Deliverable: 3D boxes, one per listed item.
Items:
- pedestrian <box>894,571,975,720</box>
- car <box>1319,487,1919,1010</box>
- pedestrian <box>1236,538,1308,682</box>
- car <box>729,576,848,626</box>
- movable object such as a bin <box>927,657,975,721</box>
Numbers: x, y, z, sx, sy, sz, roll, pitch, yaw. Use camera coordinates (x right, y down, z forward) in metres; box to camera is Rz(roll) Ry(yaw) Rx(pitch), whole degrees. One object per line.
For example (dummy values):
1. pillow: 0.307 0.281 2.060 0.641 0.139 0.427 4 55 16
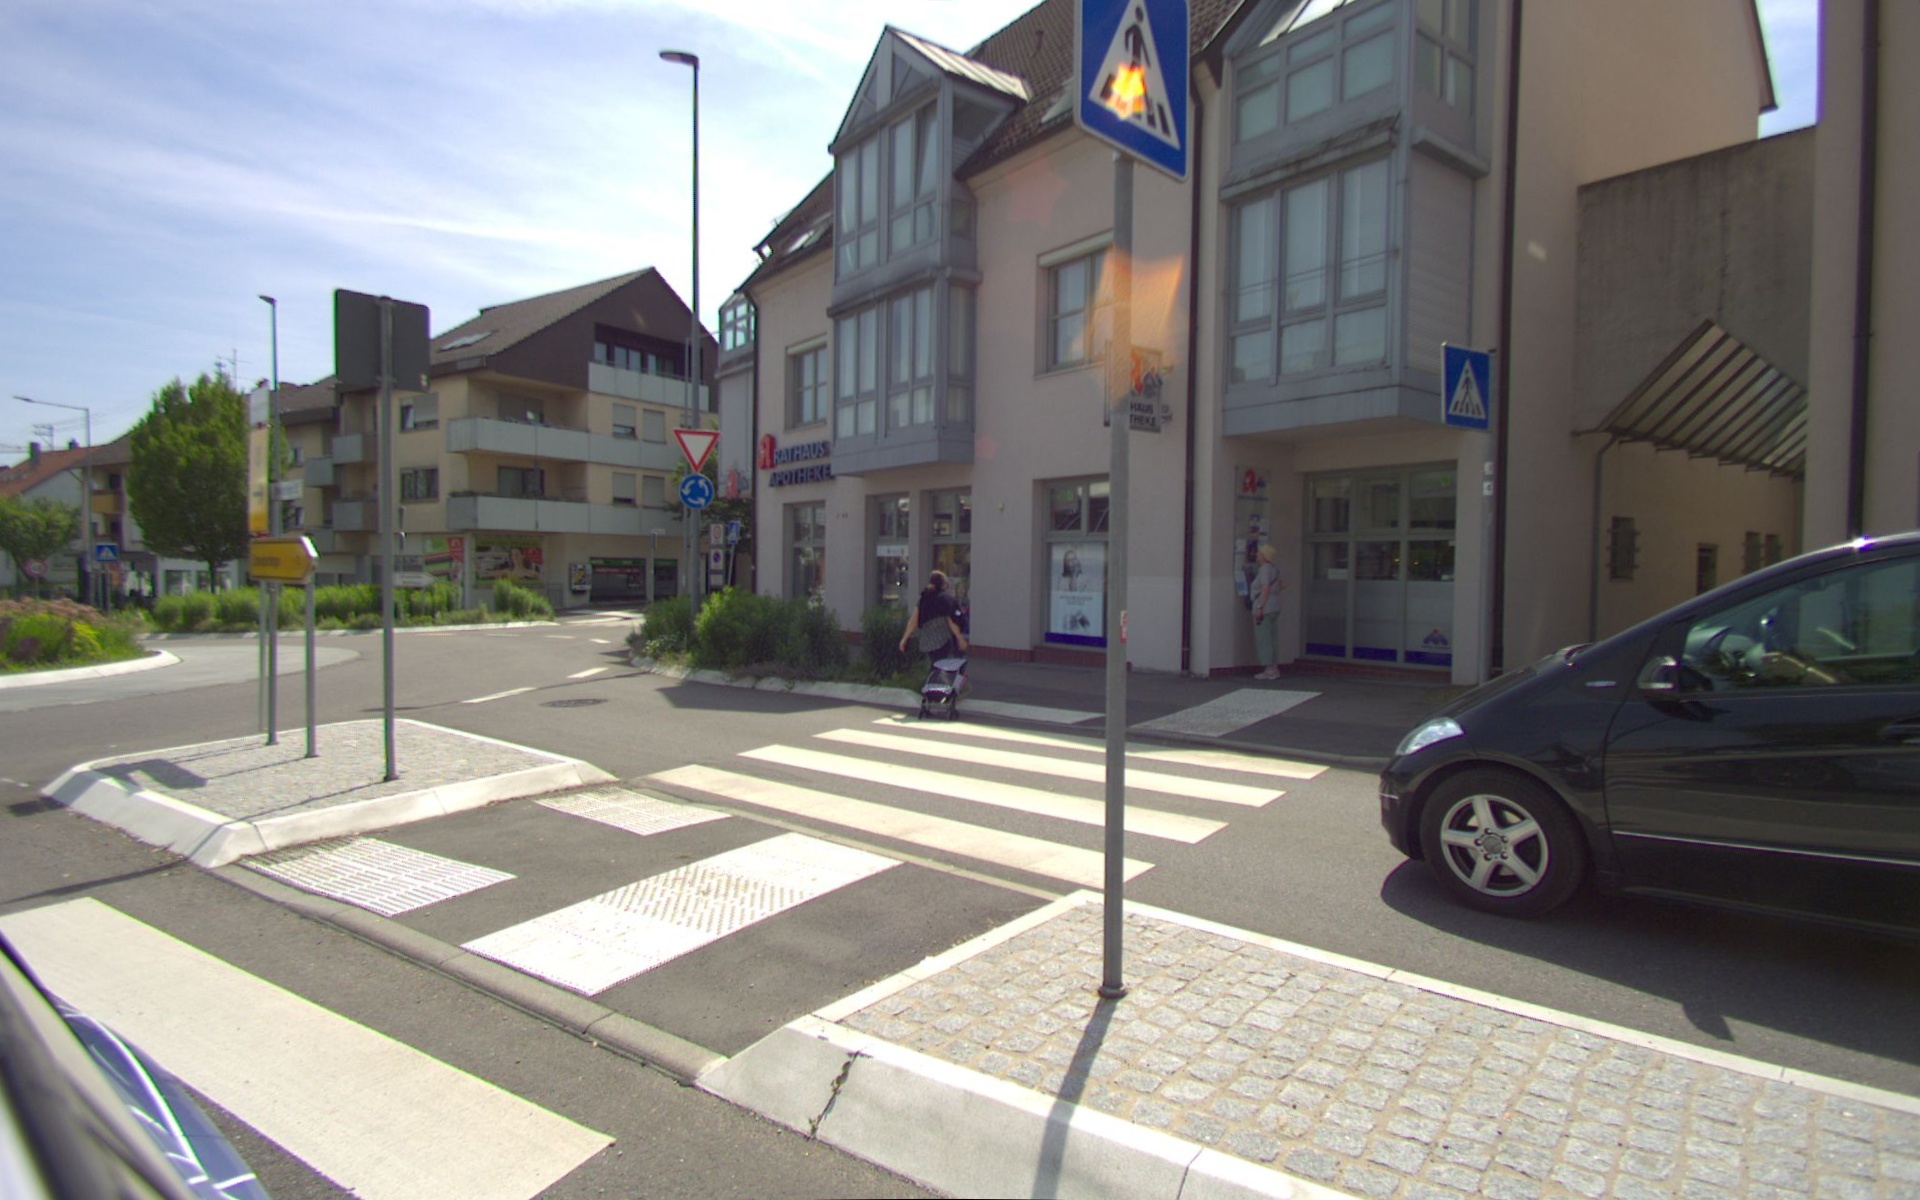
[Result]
1. pedestrian: -0.249 0.449 10.636 0.791 1.489 0.957 -1 1 1
2. car: 3.576 0.434 3.657 1.730 1.596 3.950 -2 1 -41
3. pedestrian: 3.841 0.111 12.466 0.567 1.722 0.581 -3 2 -33
4. car: -5.952 0.001 35.612 1.966 1.640 4.183 -1 1 28
5. movable object such as a bin: -0.088 0.883 10.161 0.453 0.586 0.468 -1 1 2
